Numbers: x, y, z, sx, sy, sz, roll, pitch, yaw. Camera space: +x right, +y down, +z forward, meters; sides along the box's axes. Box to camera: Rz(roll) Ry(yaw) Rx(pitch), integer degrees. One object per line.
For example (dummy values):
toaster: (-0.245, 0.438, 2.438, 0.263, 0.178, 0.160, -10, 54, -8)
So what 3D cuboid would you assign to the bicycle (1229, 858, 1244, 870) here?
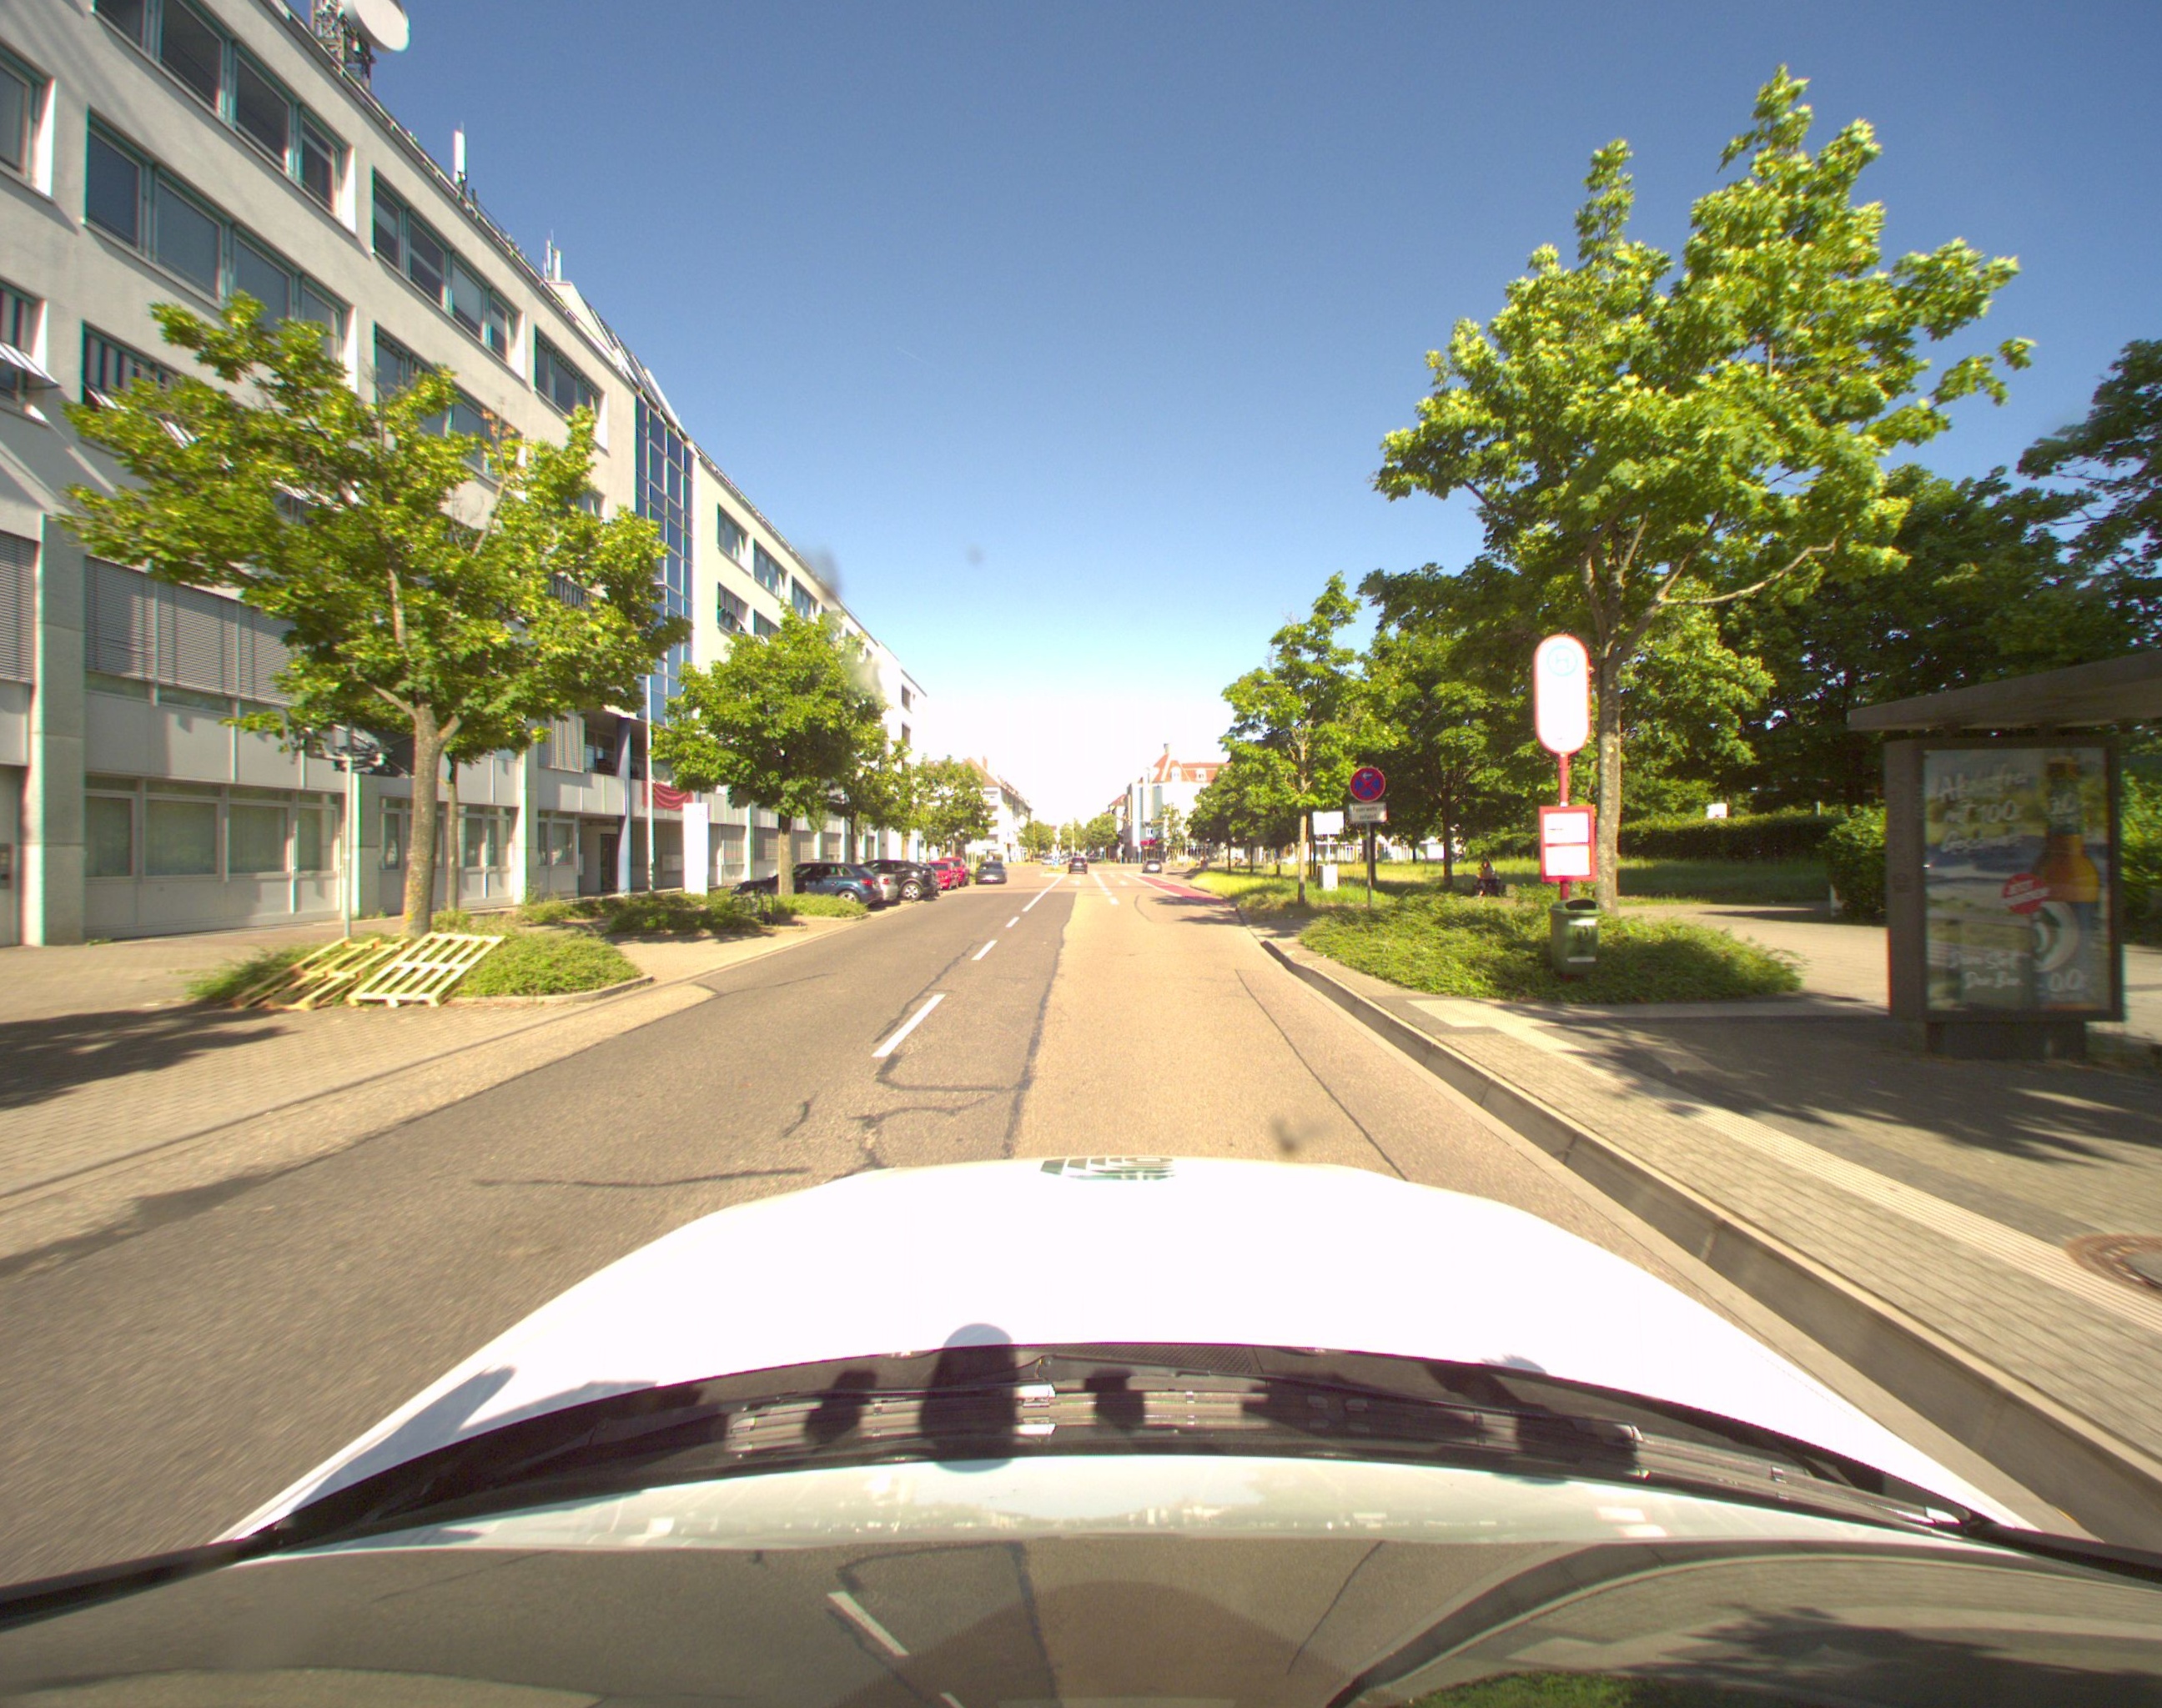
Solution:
bicycle: (17.845, 1.104, 93.554, 0.782, 1.348, 2.277, -1, 0, 37)

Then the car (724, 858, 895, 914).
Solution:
car: (-7.842, 0.903, 23.832, 4.375, 1.432, 1.691, 2, 0, -3)

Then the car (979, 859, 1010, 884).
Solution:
car: (-5.491, 1.066, 52.091, 1.684, 1.468, 4.542, -1, 0, -3)

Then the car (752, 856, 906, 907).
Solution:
car: (-8.022, 0.863, 26.226, 4.372, 1.432, 1.693, 2, 0, -1)

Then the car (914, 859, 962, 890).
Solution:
car: (-7.129, 0.986, 41.005, 1.683, 1.432, 3.871, 2, 0, 0)

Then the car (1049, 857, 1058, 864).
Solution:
car: (-6.423, 1.451, 191.309, 1.747, 1.556, 3.731, 2, 0, 1)

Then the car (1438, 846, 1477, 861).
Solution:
car: (44.802, -0.033, 96.841, 3.841, 1.577, 1.695, 2, 0, 4)

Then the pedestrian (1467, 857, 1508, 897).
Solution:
pedestrian: (12.734, 0.716, 25.528, 0.845, 1.217, 0.725, -2, -1, -13)

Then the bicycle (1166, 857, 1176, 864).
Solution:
bicycle: (14.600, 1.037, 132.109, 1.502, 1.027, 0.474, -1, 0, 10)

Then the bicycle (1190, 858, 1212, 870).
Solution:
bicycle: (13.496, 1.140, 91.459, 2.233, 1.348, 0.798, -1, 0, 34)

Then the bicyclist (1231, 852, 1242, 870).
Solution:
bicyclist: (17.859, 0.796, 93.591, 0.782, 1.959, 1.017, -1, 0, 37)

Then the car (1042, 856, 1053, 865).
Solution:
car: (-5.980, 1.205, 147.290, 1.747, 1.556, 3.731, 2, 0, 1)

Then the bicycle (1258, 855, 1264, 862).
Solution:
bicycle: (30.443, 0.721, 137.704, 0.559, 1.182, 1.868, -1, 0, -2)

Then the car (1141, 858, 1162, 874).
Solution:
car: (7.336, 1.261, 85.189, 1.684, 1.577, 3.867, 2, 0, -3)

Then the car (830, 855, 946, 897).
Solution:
car: (-7.923, 0.899, 33.728, 4.378, 1.538, 1.690, 2, 0, -5)

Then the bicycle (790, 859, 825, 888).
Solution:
bicycle: (-12.985, 0.920, 38.760, 0.705, 1.347, 2.235, -1, -1, 5)

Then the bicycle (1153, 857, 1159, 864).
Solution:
bicycle: (12.041, 0.999, 130.332, 0.472, 1.027, 1.510, -1, 0, -12)

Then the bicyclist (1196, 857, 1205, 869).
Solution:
bicyclist: (13.395, 1.037, 91.539, 0.695, 1.348, 0.798, -1, 0, 34)

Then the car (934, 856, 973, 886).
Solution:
car: (-7.206, 0.925, 46.391, 1.684, 1.607, 4.307, 2, 0, -2)

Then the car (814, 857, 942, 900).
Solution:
car: (-7.566, 0.891, 30.684, 4.376, 1.432, 1.691, 2, 0, -4)

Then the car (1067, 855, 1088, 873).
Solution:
car: (-0.360, 0.936, 78.341, 1.749, 1.628, 4.474, 2, 0, -2)
